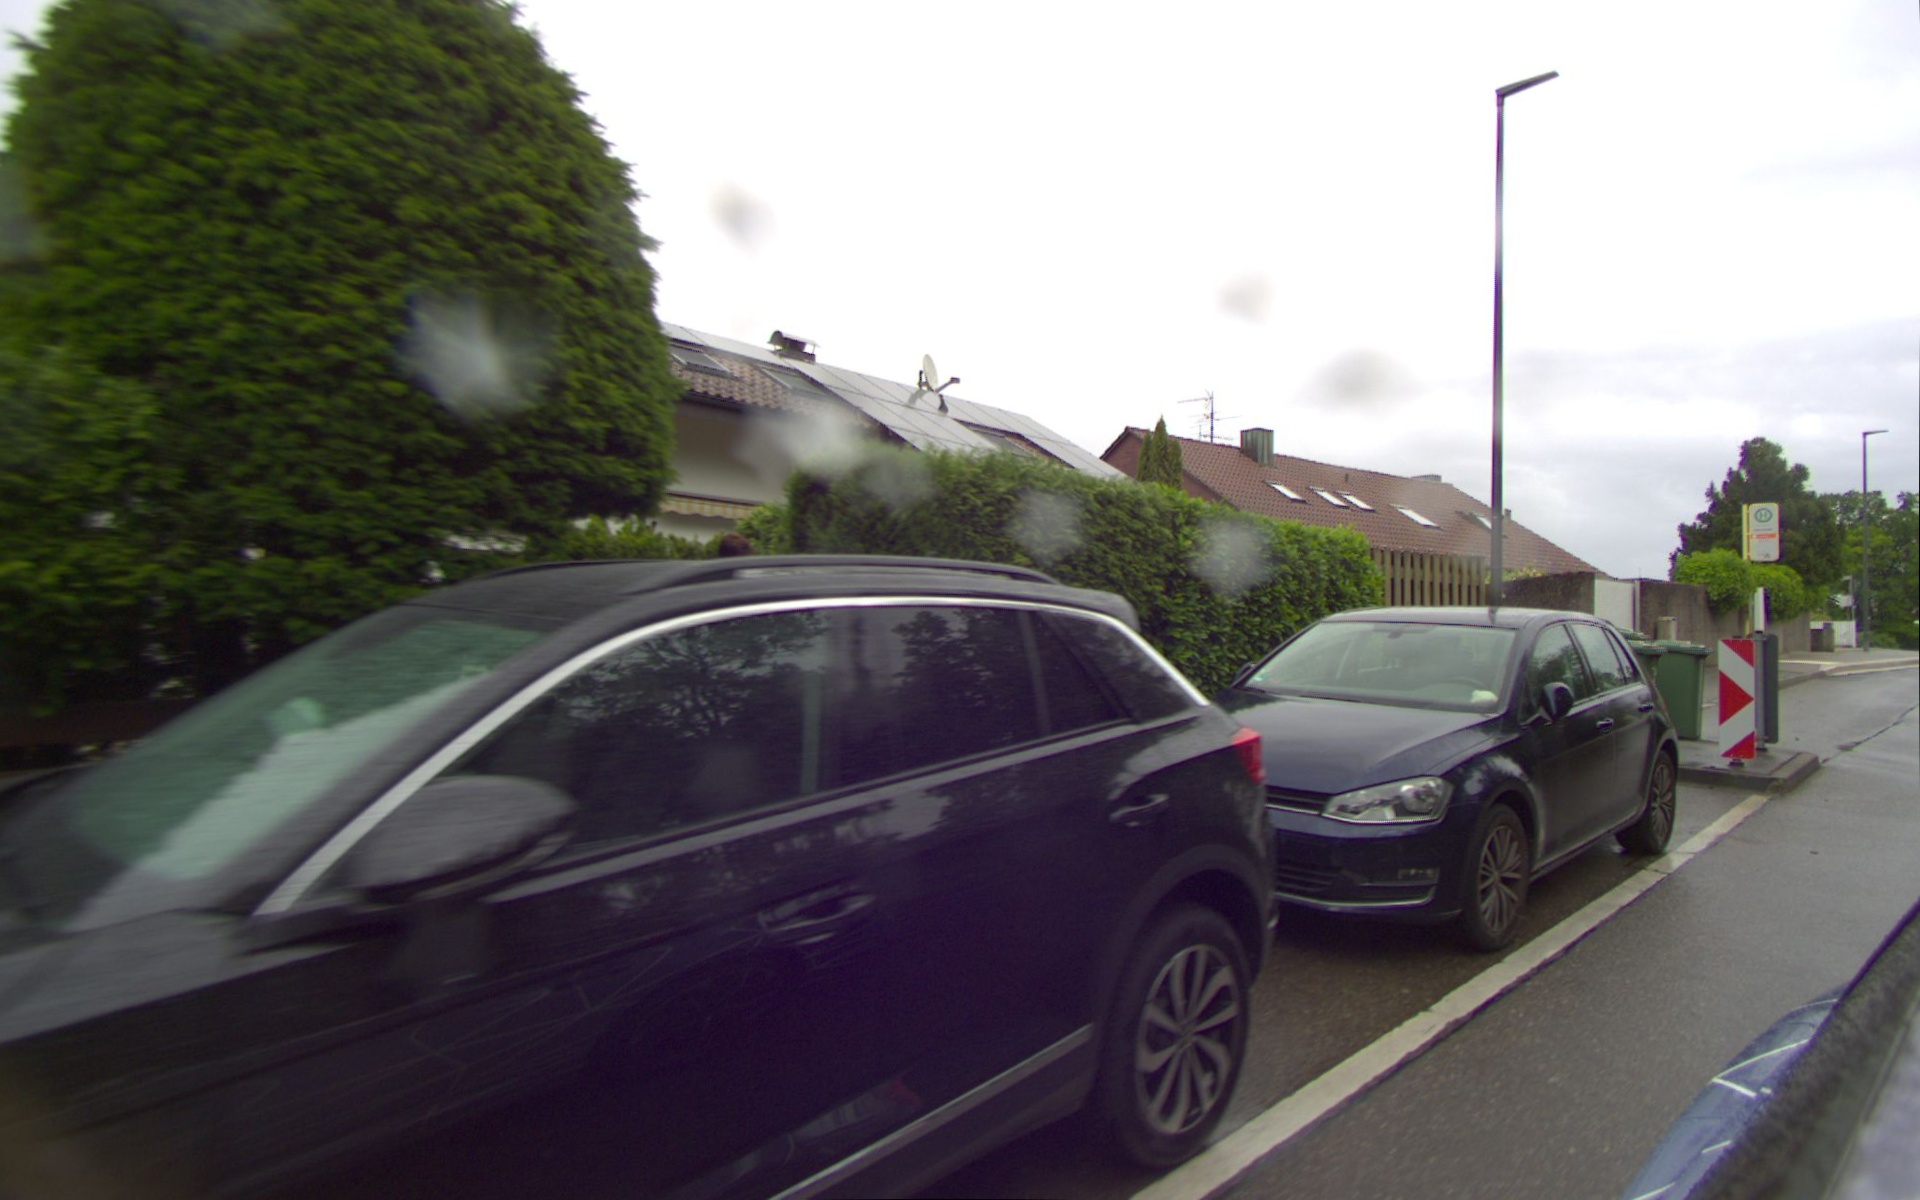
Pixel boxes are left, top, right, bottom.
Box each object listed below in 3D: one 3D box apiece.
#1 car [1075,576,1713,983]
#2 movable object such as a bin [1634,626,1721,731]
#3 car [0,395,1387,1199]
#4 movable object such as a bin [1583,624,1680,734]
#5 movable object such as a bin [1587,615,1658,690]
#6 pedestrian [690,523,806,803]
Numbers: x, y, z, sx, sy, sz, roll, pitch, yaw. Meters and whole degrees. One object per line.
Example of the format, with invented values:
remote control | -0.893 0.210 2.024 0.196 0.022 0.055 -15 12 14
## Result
car | 2.724 0.658 5.782 4.227 1.480 1.758 1 0 -42
movable object such as a bin | 8.085 0.858 11.408 0.715 1.109 0.646 -1 -1 44
car | -0.909 0.594 2.377 4.403 1.612 1.877 0 0 -43
movable object such as a bin | 7.145 0.815 10.771 0.650 1.092 0.729 1 -1 -44
movable object such as a bin | 10.321 0.799 15.766 0.589 1.102 0.741 1 1 -39
pedestrian | -1.330 0.373 6.349 0.498 1.654 0.536 1 -1 -44
